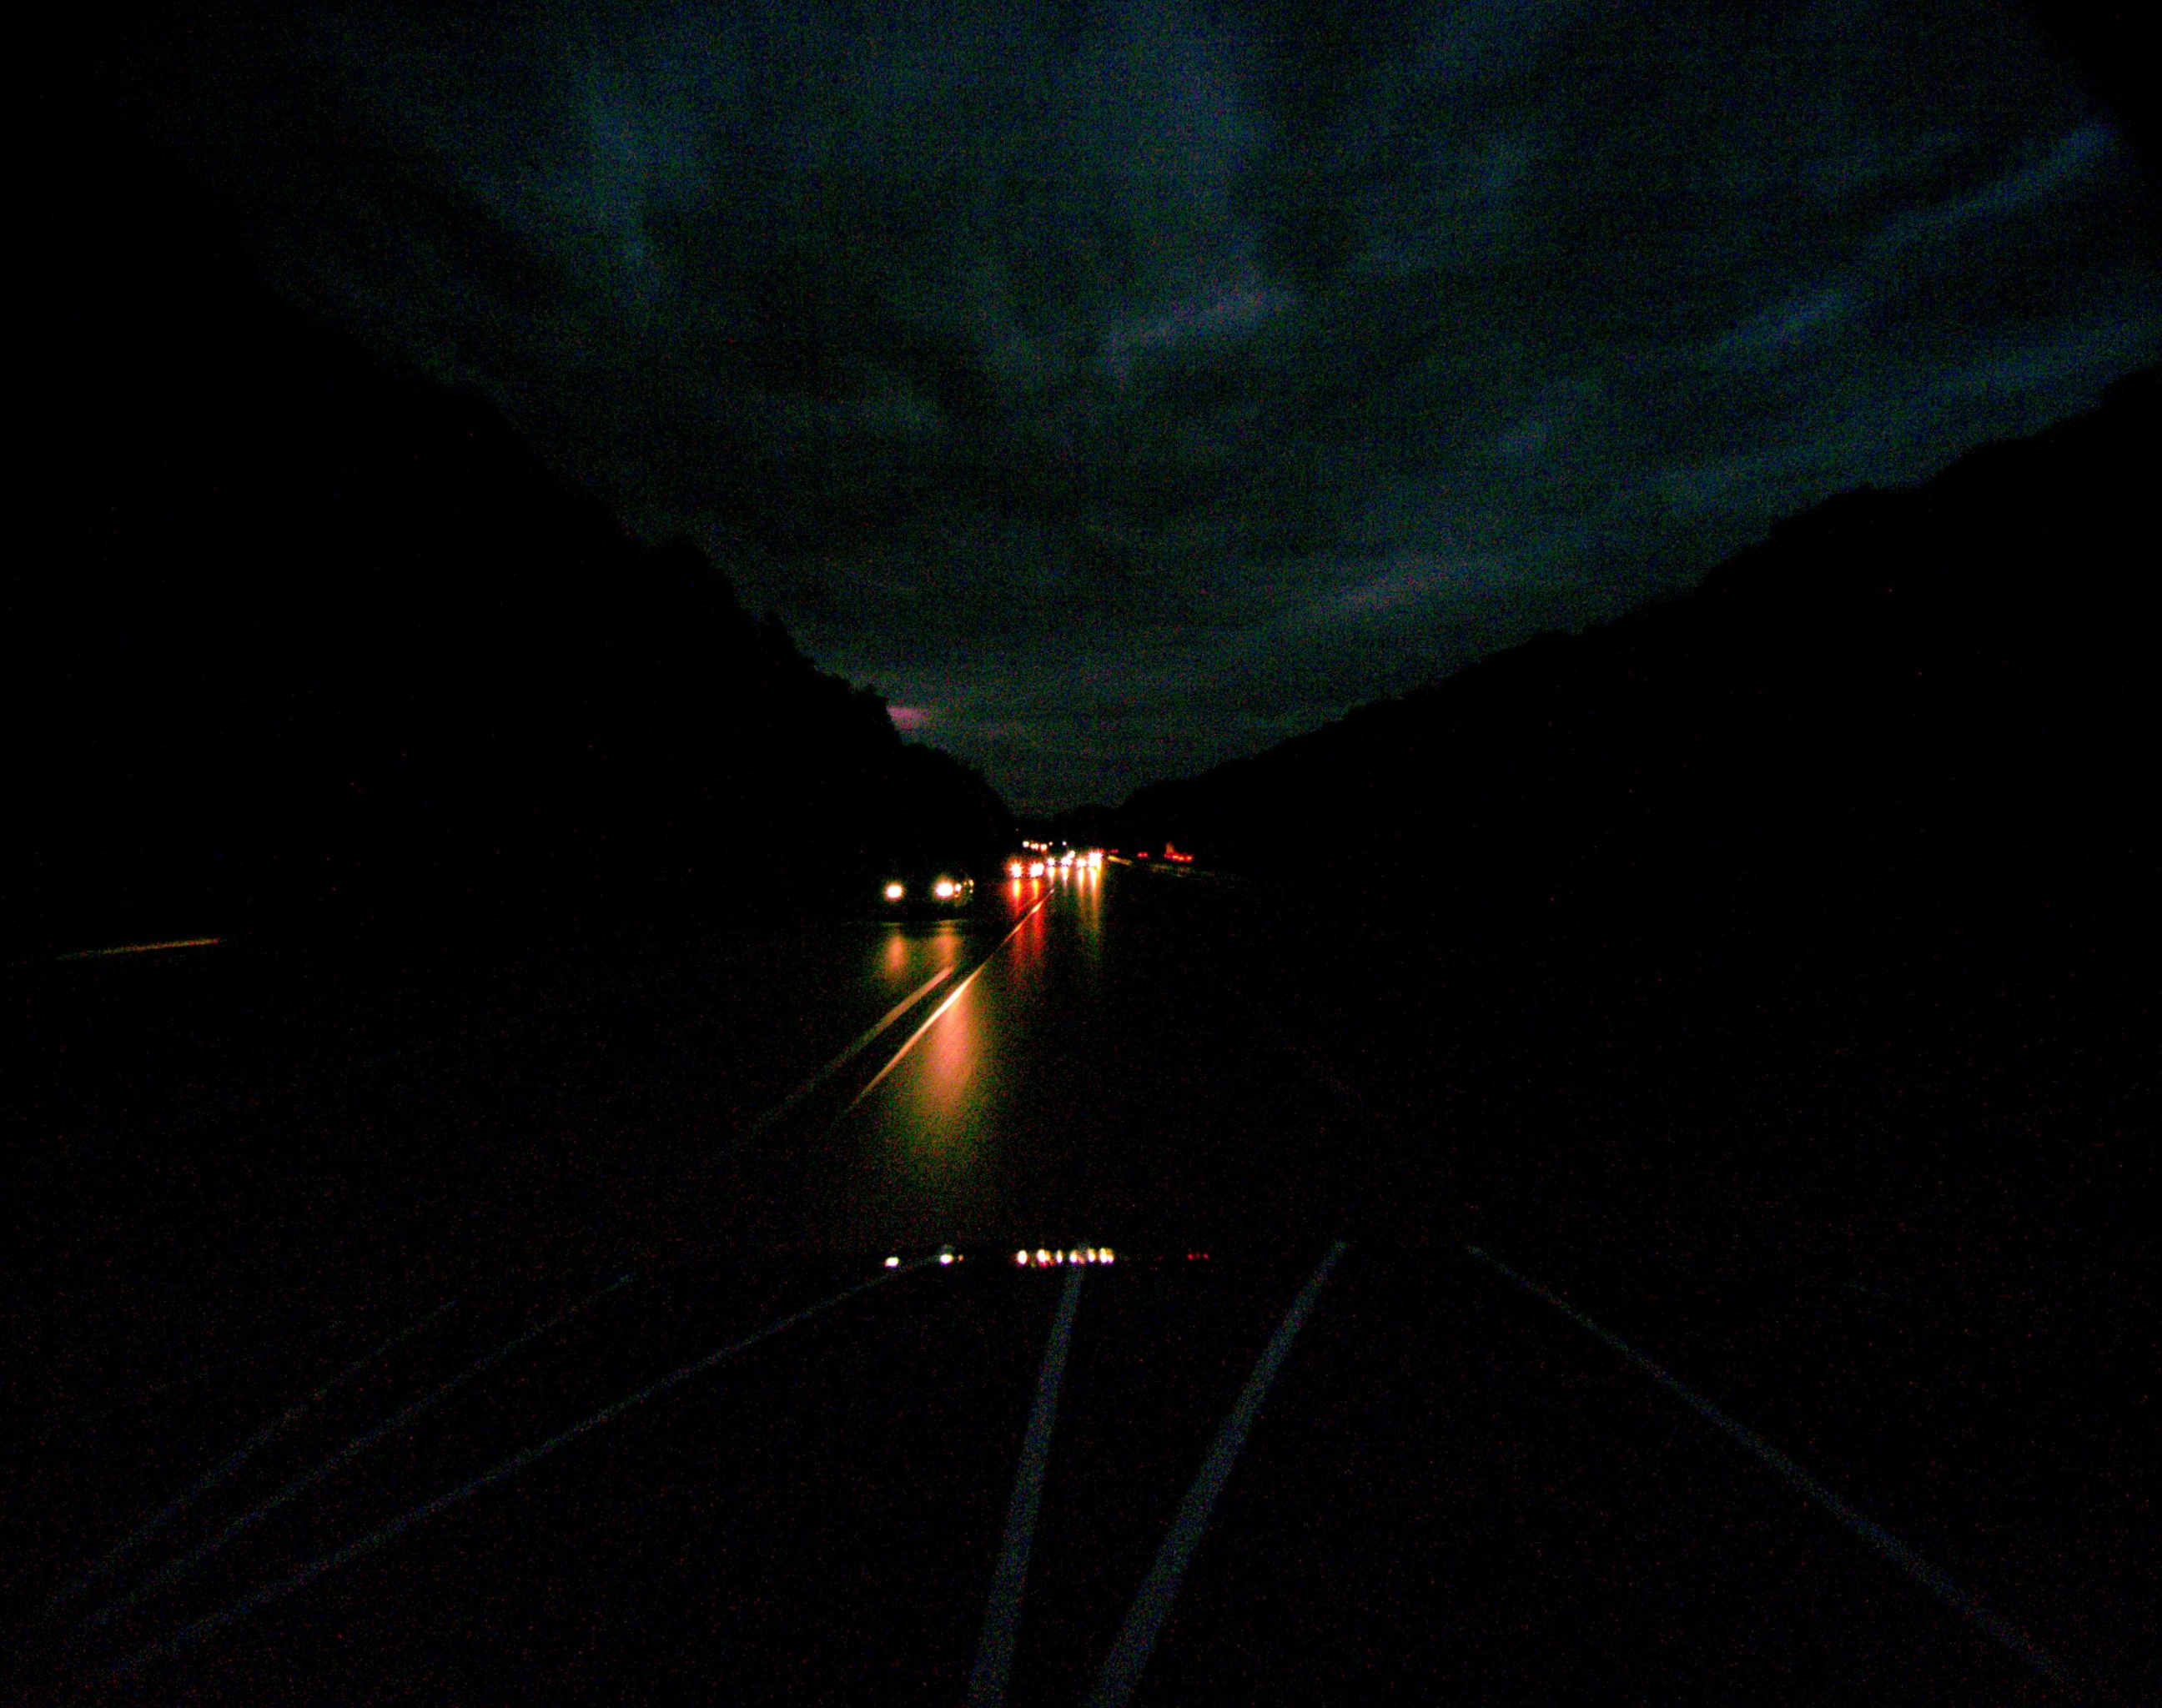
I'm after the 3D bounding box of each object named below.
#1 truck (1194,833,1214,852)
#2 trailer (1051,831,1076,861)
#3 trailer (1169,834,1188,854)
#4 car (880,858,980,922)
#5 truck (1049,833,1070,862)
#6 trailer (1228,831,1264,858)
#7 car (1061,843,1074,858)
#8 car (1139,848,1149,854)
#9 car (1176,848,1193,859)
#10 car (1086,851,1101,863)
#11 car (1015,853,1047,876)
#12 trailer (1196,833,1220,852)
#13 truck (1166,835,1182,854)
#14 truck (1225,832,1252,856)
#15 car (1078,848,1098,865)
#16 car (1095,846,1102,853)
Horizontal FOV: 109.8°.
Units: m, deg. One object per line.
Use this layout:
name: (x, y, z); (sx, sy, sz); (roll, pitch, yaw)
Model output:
truck: (27.806, -2.665, 172.101); (3.198, 4.081, 7.688); (-2, 1, 2)
trailer: (-2.575, -1.290, 114.392); (2.488, 4.050, 13.503); (-2, 2, 4)
trailer: (19.585, -1.946, 153.515); (2.653, 3.908, 10.184); (-1, 1, 1)
car: (-4.118, 0.933, 21.474); (1.870, 1.427, 4.582); (-2, 1, 0)
truck: (-2.977, -0.956, 107.079); (2.497, 3.946, 5.589); (-2, 2, 2)
trailer: (27.100, -1.651, 125.468); (3.198, 4.081, 14.181); (-2, 1, 2)
car: (-3.436, -0.905, 193.347); (2.998, 3.660, 9.998); (-1, 1, 1)
car: (15.580, -0.836, 188.308); (1.915, 1.443, 5.354); (-1, 1, 1)
car: (15.639, -0.127, 114.983); (1.885, 1.565, 4.654); (-1, 0, 0)
car: (2.081, 0.460, 129.156); (1.924, 1.706, 4.938); (-3, 2, -6)
car: (-3.516, 0.703, 54.014); (1.695, 1.481, 4.950); (-3, -1, 2)
trailer: (27.625, -2.561, 166.277); (3.199, 4.081, 13.737); (-2, 1, 1)
truck: (19.727, -2.059, 162.167); (2.653, 3.949, 7.121); (-1, 1, 1)
truck: (27.307, -1.749, 132.171); (3.198, 4.081, 7.688); (-2, 1, 2)
car: (0.854, 0.239, 85.786); (1.869, 1.701, 4.584); (-2, 1, 4)
car: (4.397, -1.152, 188.505); (1.695, 1.481, 4.948); (-1, 1, 1)
